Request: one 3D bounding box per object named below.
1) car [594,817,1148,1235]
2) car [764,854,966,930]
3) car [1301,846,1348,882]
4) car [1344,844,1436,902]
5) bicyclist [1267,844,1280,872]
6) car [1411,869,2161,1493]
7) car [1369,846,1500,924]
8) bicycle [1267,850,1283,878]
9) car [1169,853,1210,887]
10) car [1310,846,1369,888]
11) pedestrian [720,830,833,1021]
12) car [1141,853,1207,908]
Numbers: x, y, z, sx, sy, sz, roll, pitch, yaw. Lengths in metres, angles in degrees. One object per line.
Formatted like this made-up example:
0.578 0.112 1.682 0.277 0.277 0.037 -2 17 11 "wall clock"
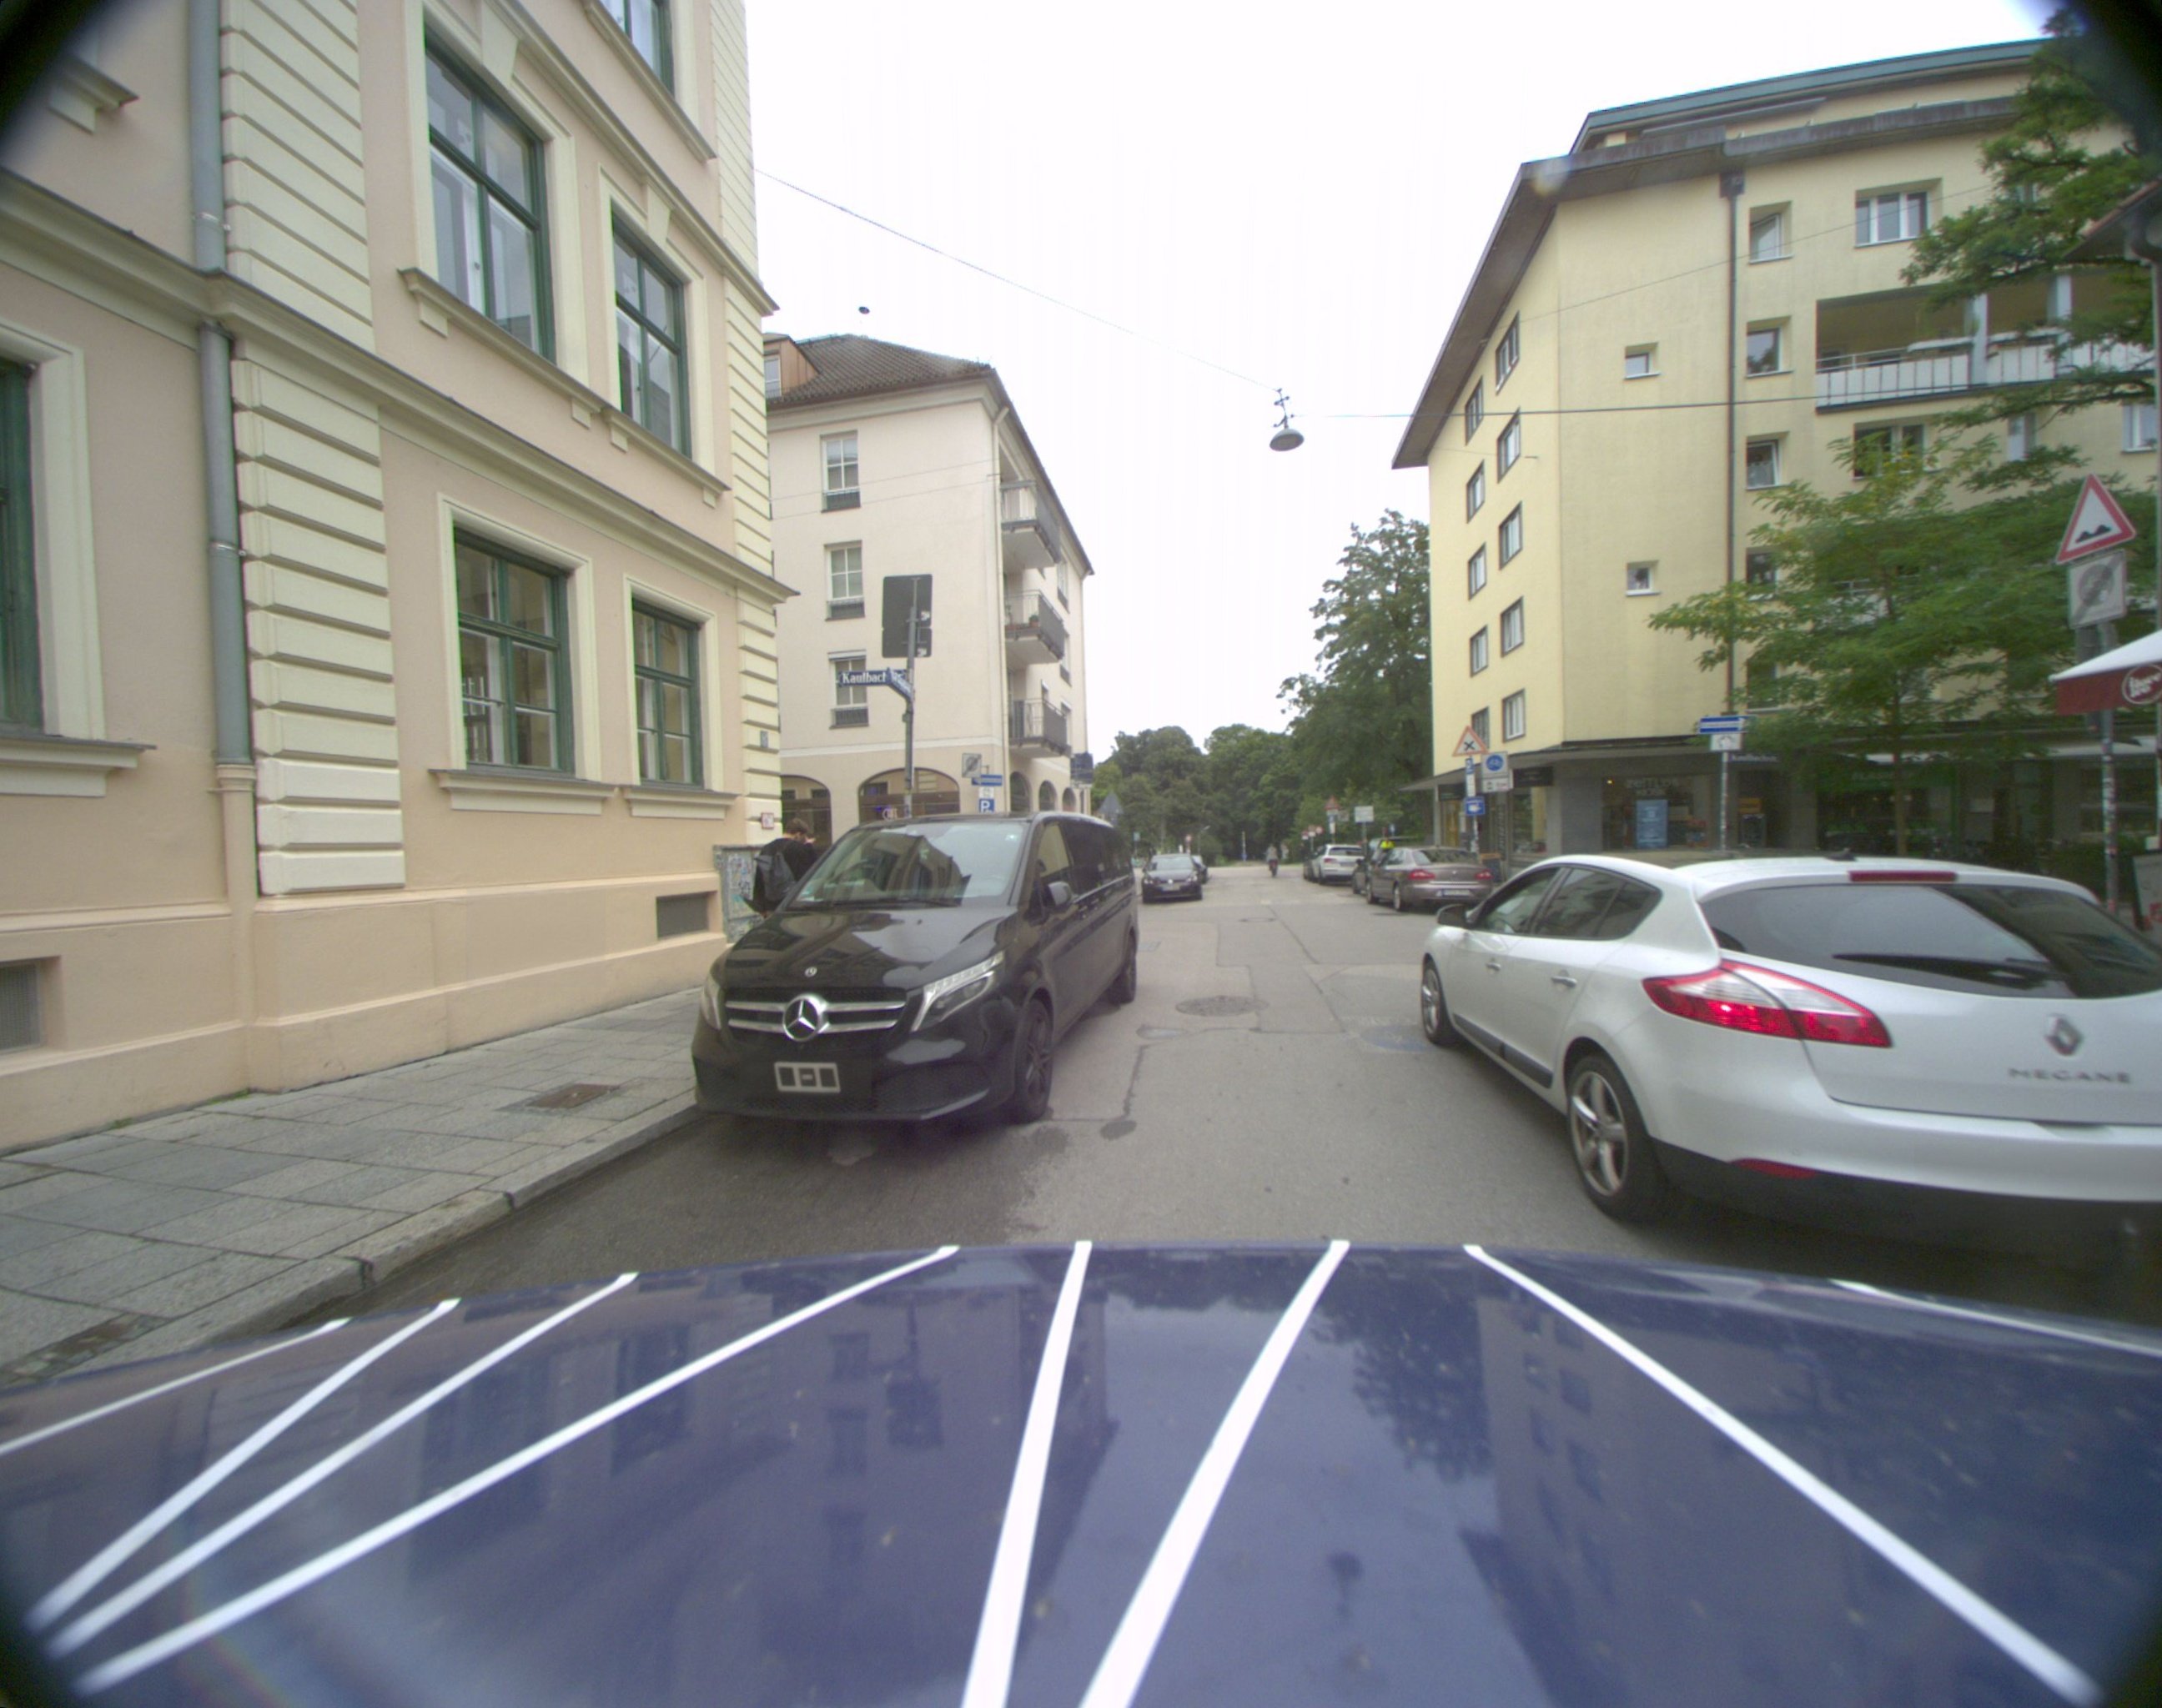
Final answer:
-0.837 0.734 6.050 1.996 1.850 5.118 -1 1 13 "car"
-4.803 0.828 17.170 3.994 1.557 1.713 -1 1 9 "car"
11.627 0.436 36.484 1.709 1.550 4.003 -1 1 11 "car"
8.872 0.495 22.120 1.709 1.491 4.003 -1 1 11 "car"
10.185 0.220 40.201 0.650 1.466 0.767 -2 1 15 "bicyclist"
3.061 0.850 3.788 1.791 1.409 3.908 0 1 11 "car"
7.716 0.594 16.969 1.709 1.491 4.003 -1 1 11 "car"
10.320 0.496 40.403 0.688 1.371 2.400 -2 1 16 "bicycle"
5.263 0.726 36.501 1.709 1.491 4.003 -1 1 11 "car"
10.294 0.476 30.505 1.709 1.550 4.003 -1 1 11 "car"
-3.000 0.675 7.551 0.697 1.792 0.730 -1 1 11 "pedestrian"
2.964 0.763 23.596 1.709 1.491 4.003 -1 1 11 "car"
